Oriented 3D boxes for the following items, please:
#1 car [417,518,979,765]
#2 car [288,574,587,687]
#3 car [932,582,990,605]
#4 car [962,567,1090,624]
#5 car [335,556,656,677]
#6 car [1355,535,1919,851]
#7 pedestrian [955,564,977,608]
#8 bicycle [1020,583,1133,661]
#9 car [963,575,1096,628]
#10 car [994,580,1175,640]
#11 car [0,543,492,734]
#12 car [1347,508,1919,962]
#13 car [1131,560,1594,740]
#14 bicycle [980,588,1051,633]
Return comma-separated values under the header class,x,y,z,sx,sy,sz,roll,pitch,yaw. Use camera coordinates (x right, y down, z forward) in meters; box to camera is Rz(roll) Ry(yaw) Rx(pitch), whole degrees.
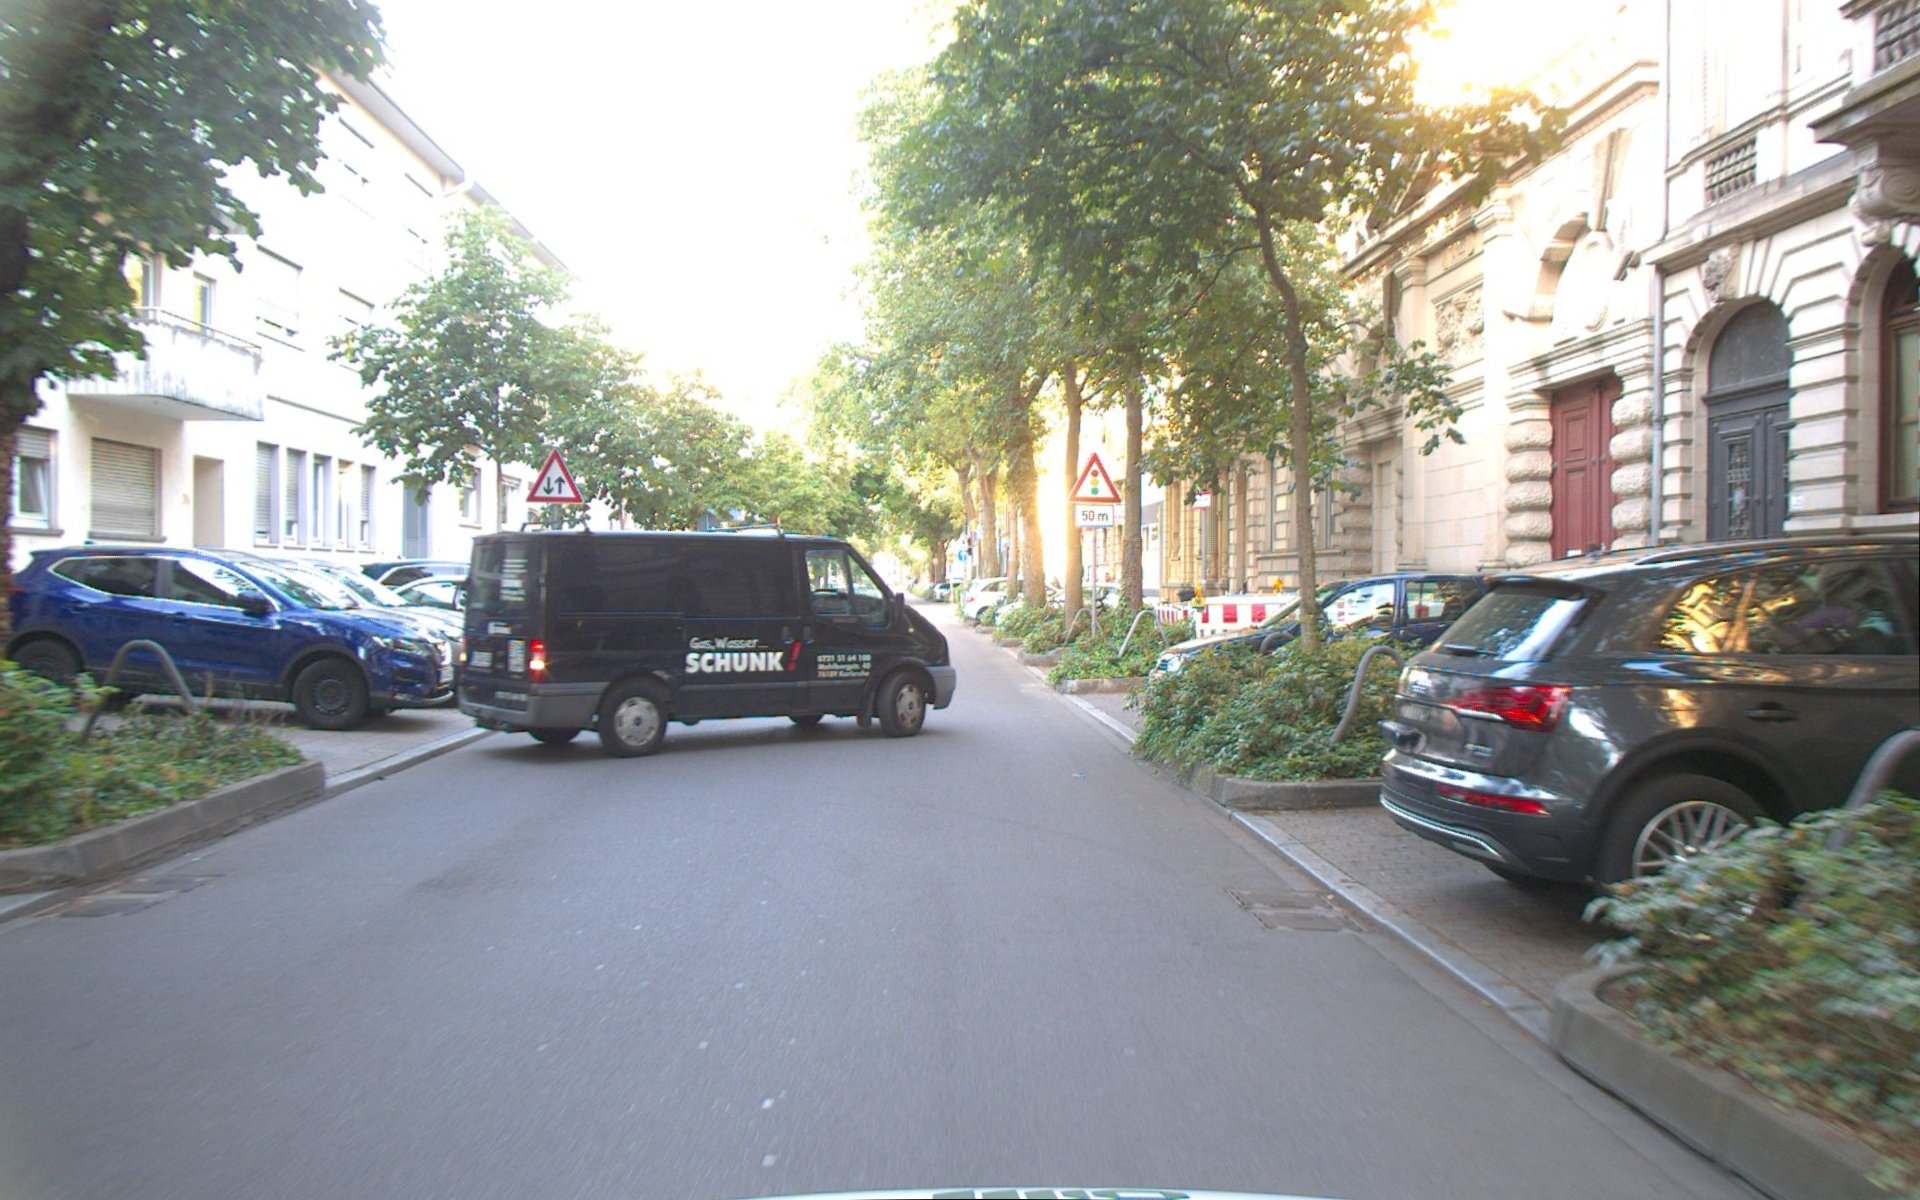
class,x,y,z,sx,sy,sz,roll,pitch,yaw
car,-2.418,0.302,15.927,4.952,2.025,2.161,-1,1,-37
car,-7.513,0.417,24.063,3.768,1.476,1.854,1,2,-3
car,0.072,-0.470,119.011,4.108,1.506,1.851,-2,1,-3
car,2.380,-0.178,60.496,4.451,1.948,1.948,-1,1,-5
car,-7.380,0.250,26.705,4.572,1.796,2.155,1,0,-3
car,4.598,0.487,10.097,3.927,1.716,1.764,-1,1,-3
pedestrian,0.285,-0.703,82.488,1.022,2.184,1.063,1,0,-2
bicycle,2.157,0.396,30.669,2.006,1.384,0.508,1,1,-5
car,2.200,0.033,52.873,4.137,1.587,1.971,-1,1,1
car,3.155,0.233,42.632,4.490,1.462,1.925,0,1,-1
car,-7.099,0.357,16.479,4.267,1.600,1.930,3,0,-2
car,4.217,0.495,7.603,4.351,1.748,1.967,-2,0,-3
car,3.937,0.457,16.659,4.139,1.507,1.854,-3,1,-3
bicycle,1.606,0.303,48.121,1.986,1.225,0.486,-2,0,-15
